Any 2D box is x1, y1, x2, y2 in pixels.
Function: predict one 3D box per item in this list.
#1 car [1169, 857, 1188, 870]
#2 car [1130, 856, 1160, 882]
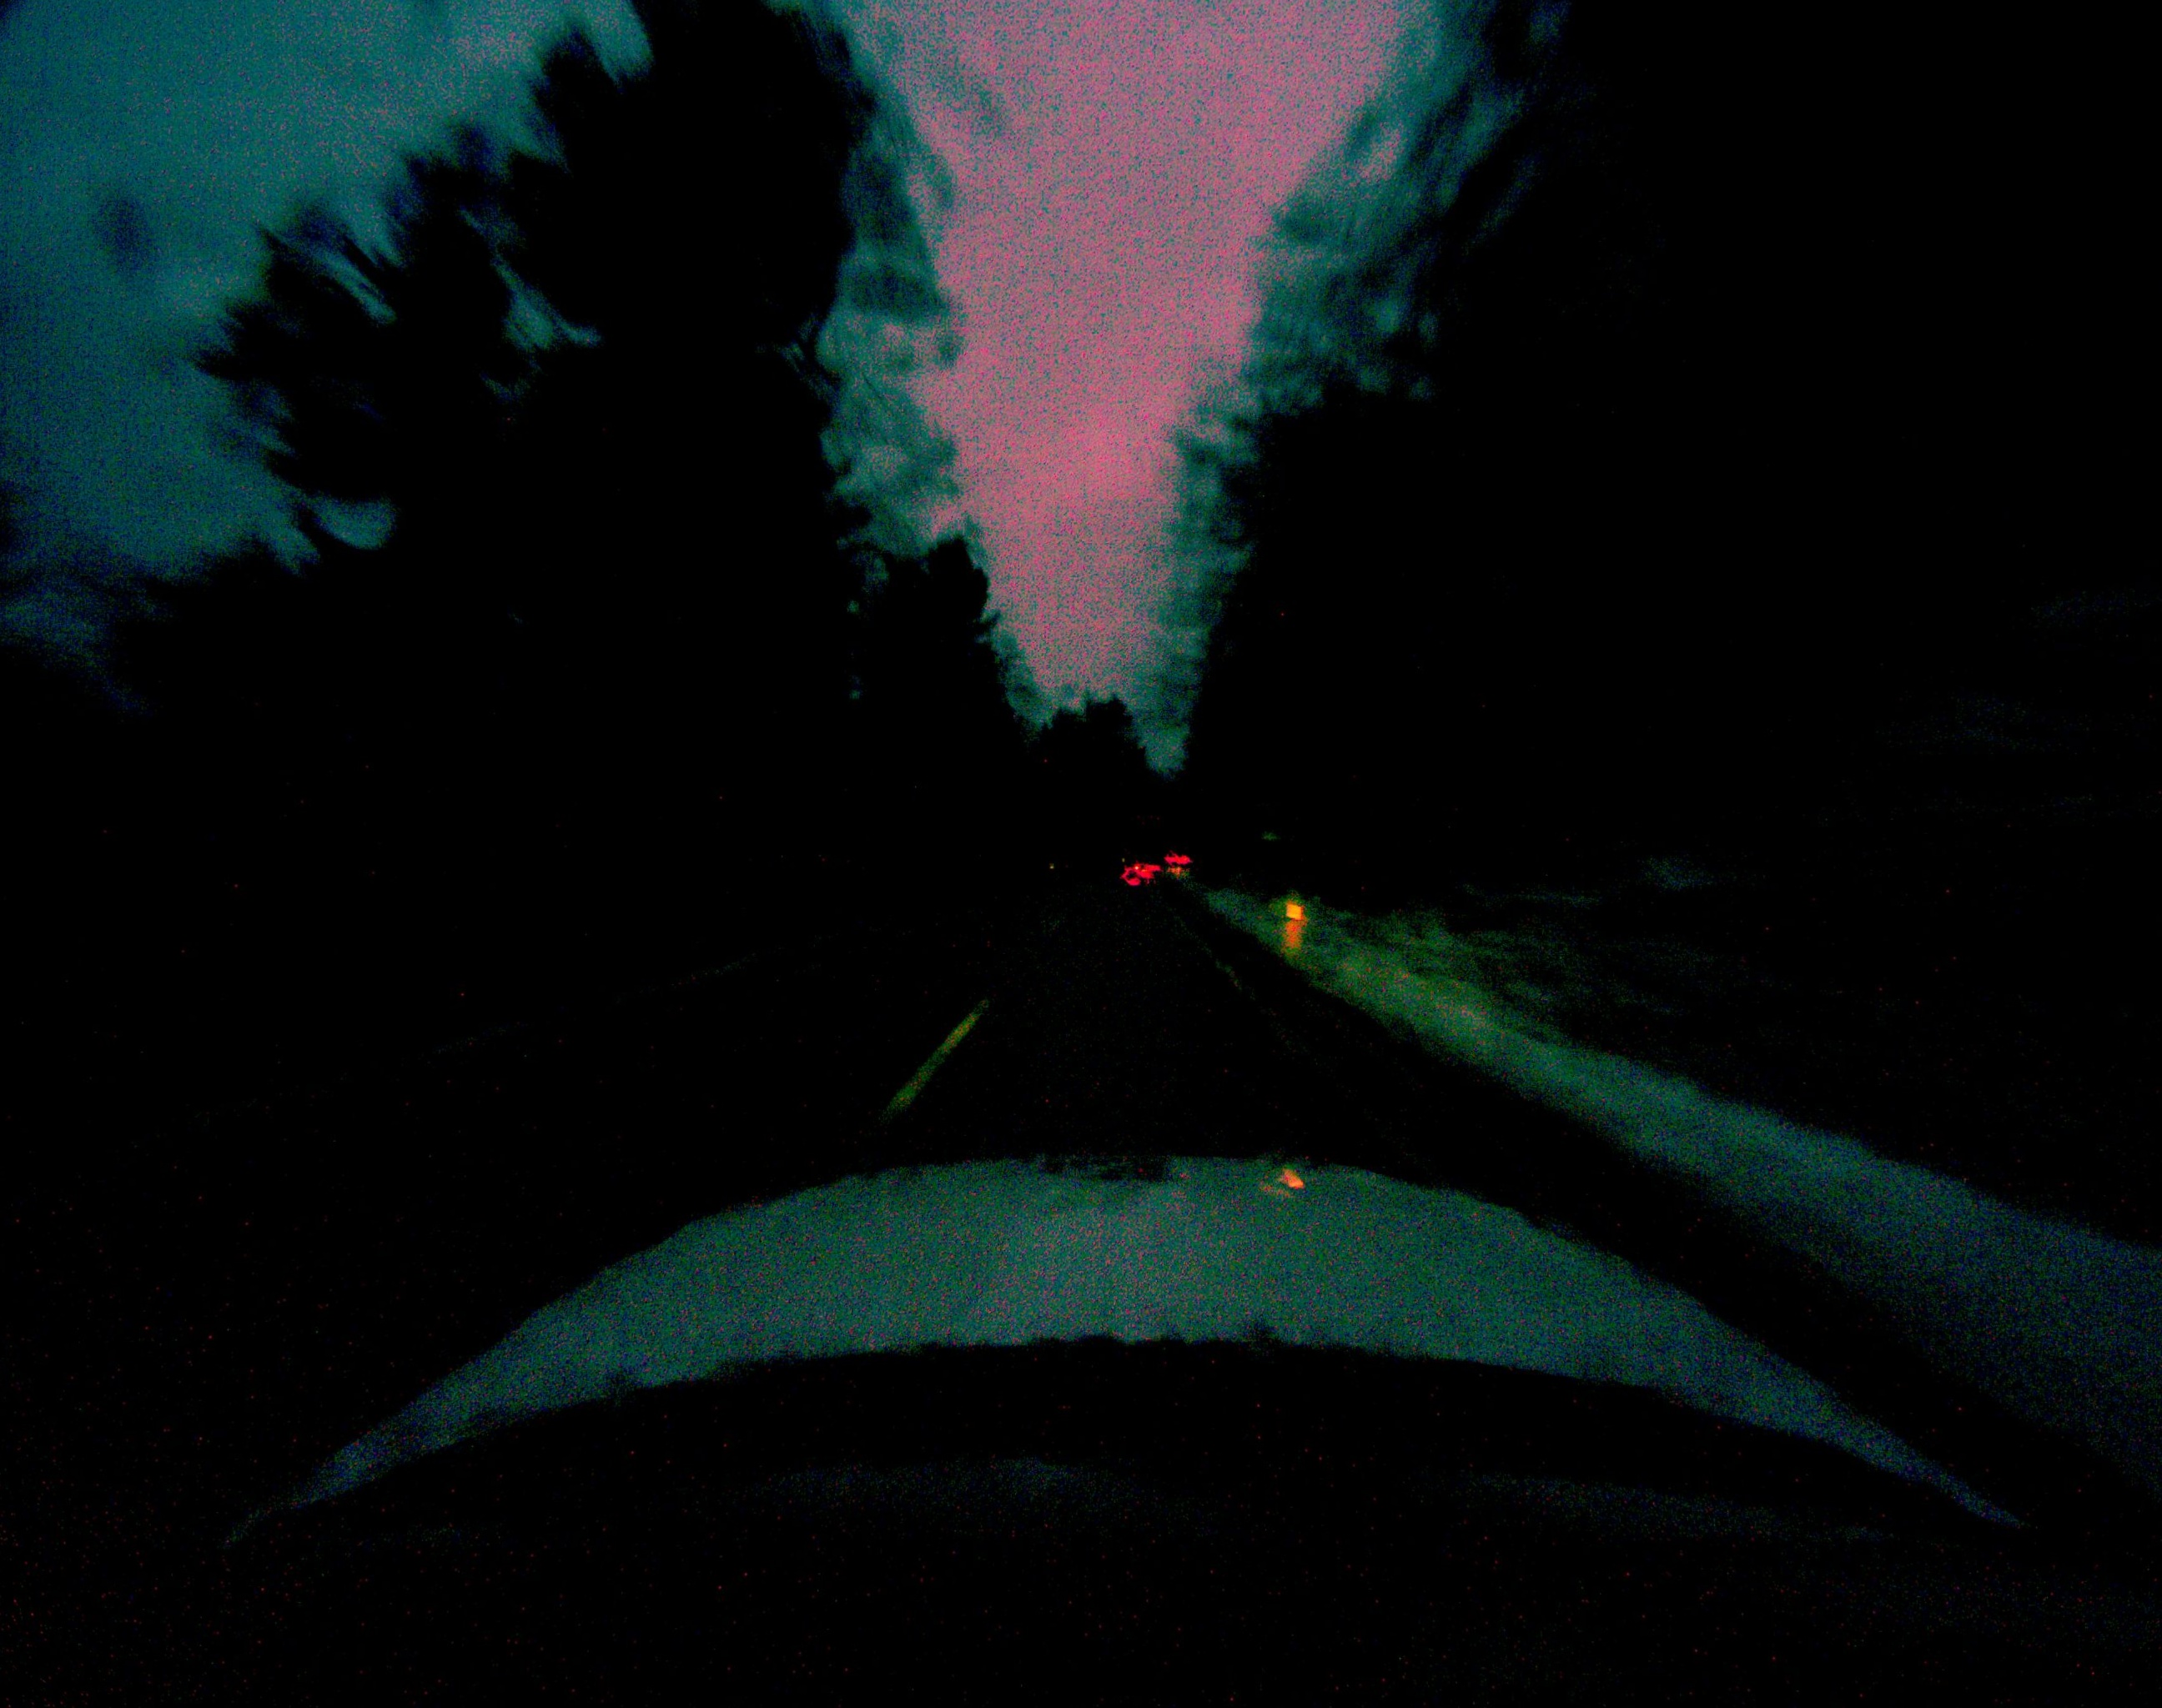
[{"bbox_3d":[12.092,1.161,100.624,1.981,1.310,4.013,-3,0,11],"label":"car"},{"bbox_3d":[5.069,1.151,64.008,1.982,1.872,4.010,-3,0,9],"label":"car"}]
